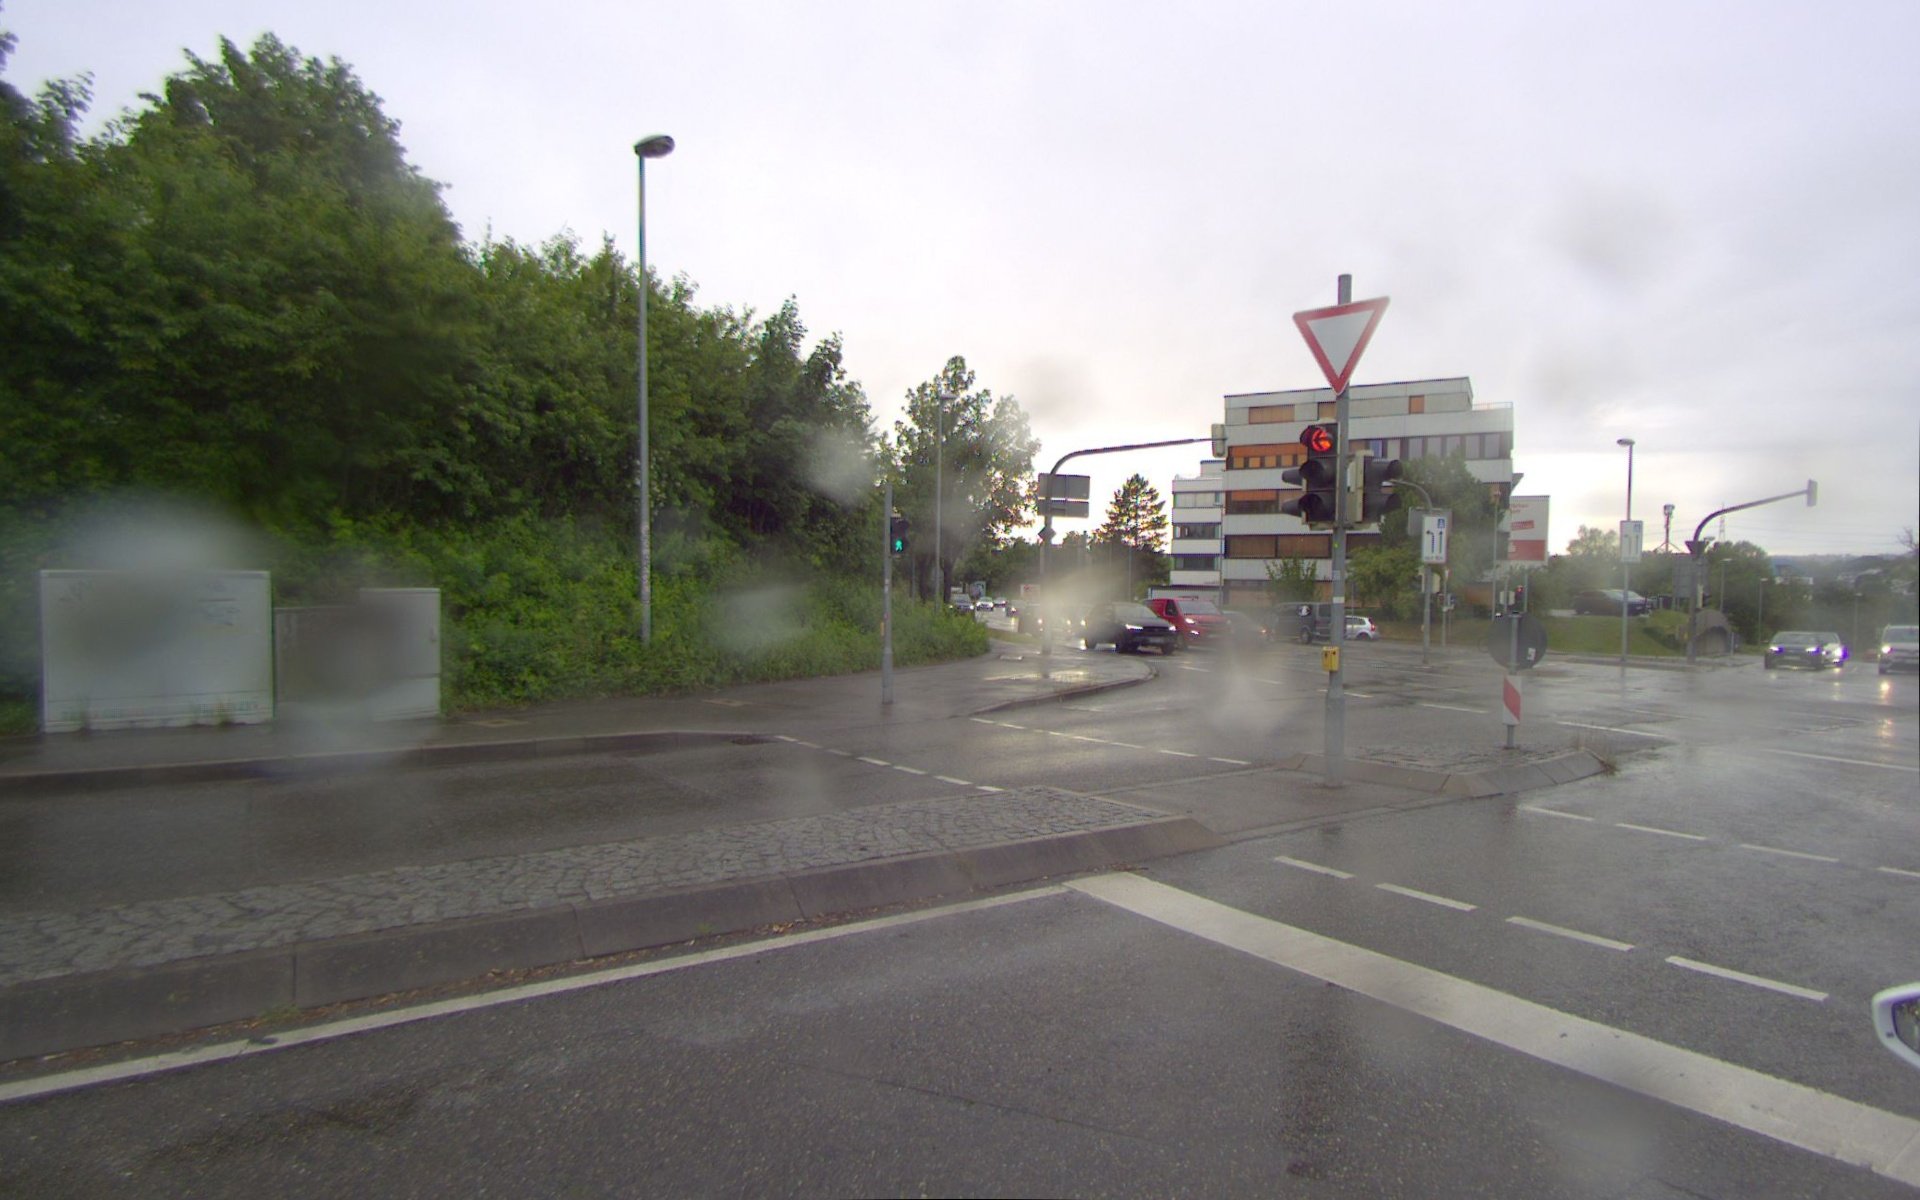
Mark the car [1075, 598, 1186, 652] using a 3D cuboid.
[{"bbox_3d":[5.680,0.829,34.137,2.000,1.701,4.618,1,-1,-15],"label":"car"}]

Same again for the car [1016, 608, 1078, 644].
[{"bbox_3d":[3.661,1.083,42.784,1.652,1.405,3.452,1,1,-13],"label":"car"}]

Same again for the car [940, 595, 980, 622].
[{"bbox_3d":[-0.054,0.543,67.578,1.964,1.725,4.604,1,1,-9],"label":"car"}]

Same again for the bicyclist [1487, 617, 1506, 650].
[{"bbox_3d":[24.449,1.522,45.745,0.597,1.465,0.539,0,1,-36],"label":"bicyclist"}]

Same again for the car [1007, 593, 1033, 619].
[{"bbox_3d":[5.086,0.480,86.009,1.960,2.041,5.012,1,1,1],"label":"car"}]

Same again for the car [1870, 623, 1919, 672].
[{"bbox_3d":[35.020,1.724,36.990,3.974,1.639,1.973,1,1,-45],"label":"car"}]

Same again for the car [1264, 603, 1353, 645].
[{"bbox_3d":[16.828,1.113,48.728,1.970,1.873,3.980,1,1,-21],"label":"car"}]

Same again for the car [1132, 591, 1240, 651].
[{"bbox_3d":[8.224,0.730,37.054,1.966,2.040,4.774,1,0,-13],"label":"car"}]

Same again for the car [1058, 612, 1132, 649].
[{"bbox_3d":[6.214,1.371,46.860,1.965,1.496,4.663,1,1,-11],"label":"car"}]

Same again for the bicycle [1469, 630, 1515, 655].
[{"bbox_3d":[24.308,1.932,45.938,0.604,1.066,1.762,1,1,-35],"label":"bicycle"}]

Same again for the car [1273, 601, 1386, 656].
[{"bbox_3d":[13.668,1.008,37.445,1.966,1.865,4.143,1,1,-14],"label":"car"}]

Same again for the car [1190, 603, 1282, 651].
[{"bbox_3d":[10.833,1.023,39.734,1.964,1.706,3.992,1,1,-10],"label":"car"}]

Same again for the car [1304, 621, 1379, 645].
[{"bbox_3d":[20.419,1.741,53.818,3.456,1.120,1.815,2,1,34],"label":"car"}]

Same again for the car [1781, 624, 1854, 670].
[{"bbox_3d":[38.972,2.083,45.636,3.970,1.920,1.975,1,1,-42],"label":"car"}]

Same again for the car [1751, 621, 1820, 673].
[{"bbox_3d":[33.383,1.855,40.589,1.971,1.920,3.979,2,1,42],"label":"car"}]

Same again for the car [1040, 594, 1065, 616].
[{"bbox_3d":[9.165,0.491,100.011,1.961,2.041,5.011,1,1,-1],"label":"car"}]

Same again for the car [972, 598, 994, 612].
[{"bbox_3d":[2.473,0.531,110.364,1.811,1.534,3.995,1,1,-7],"label":"car"}]
